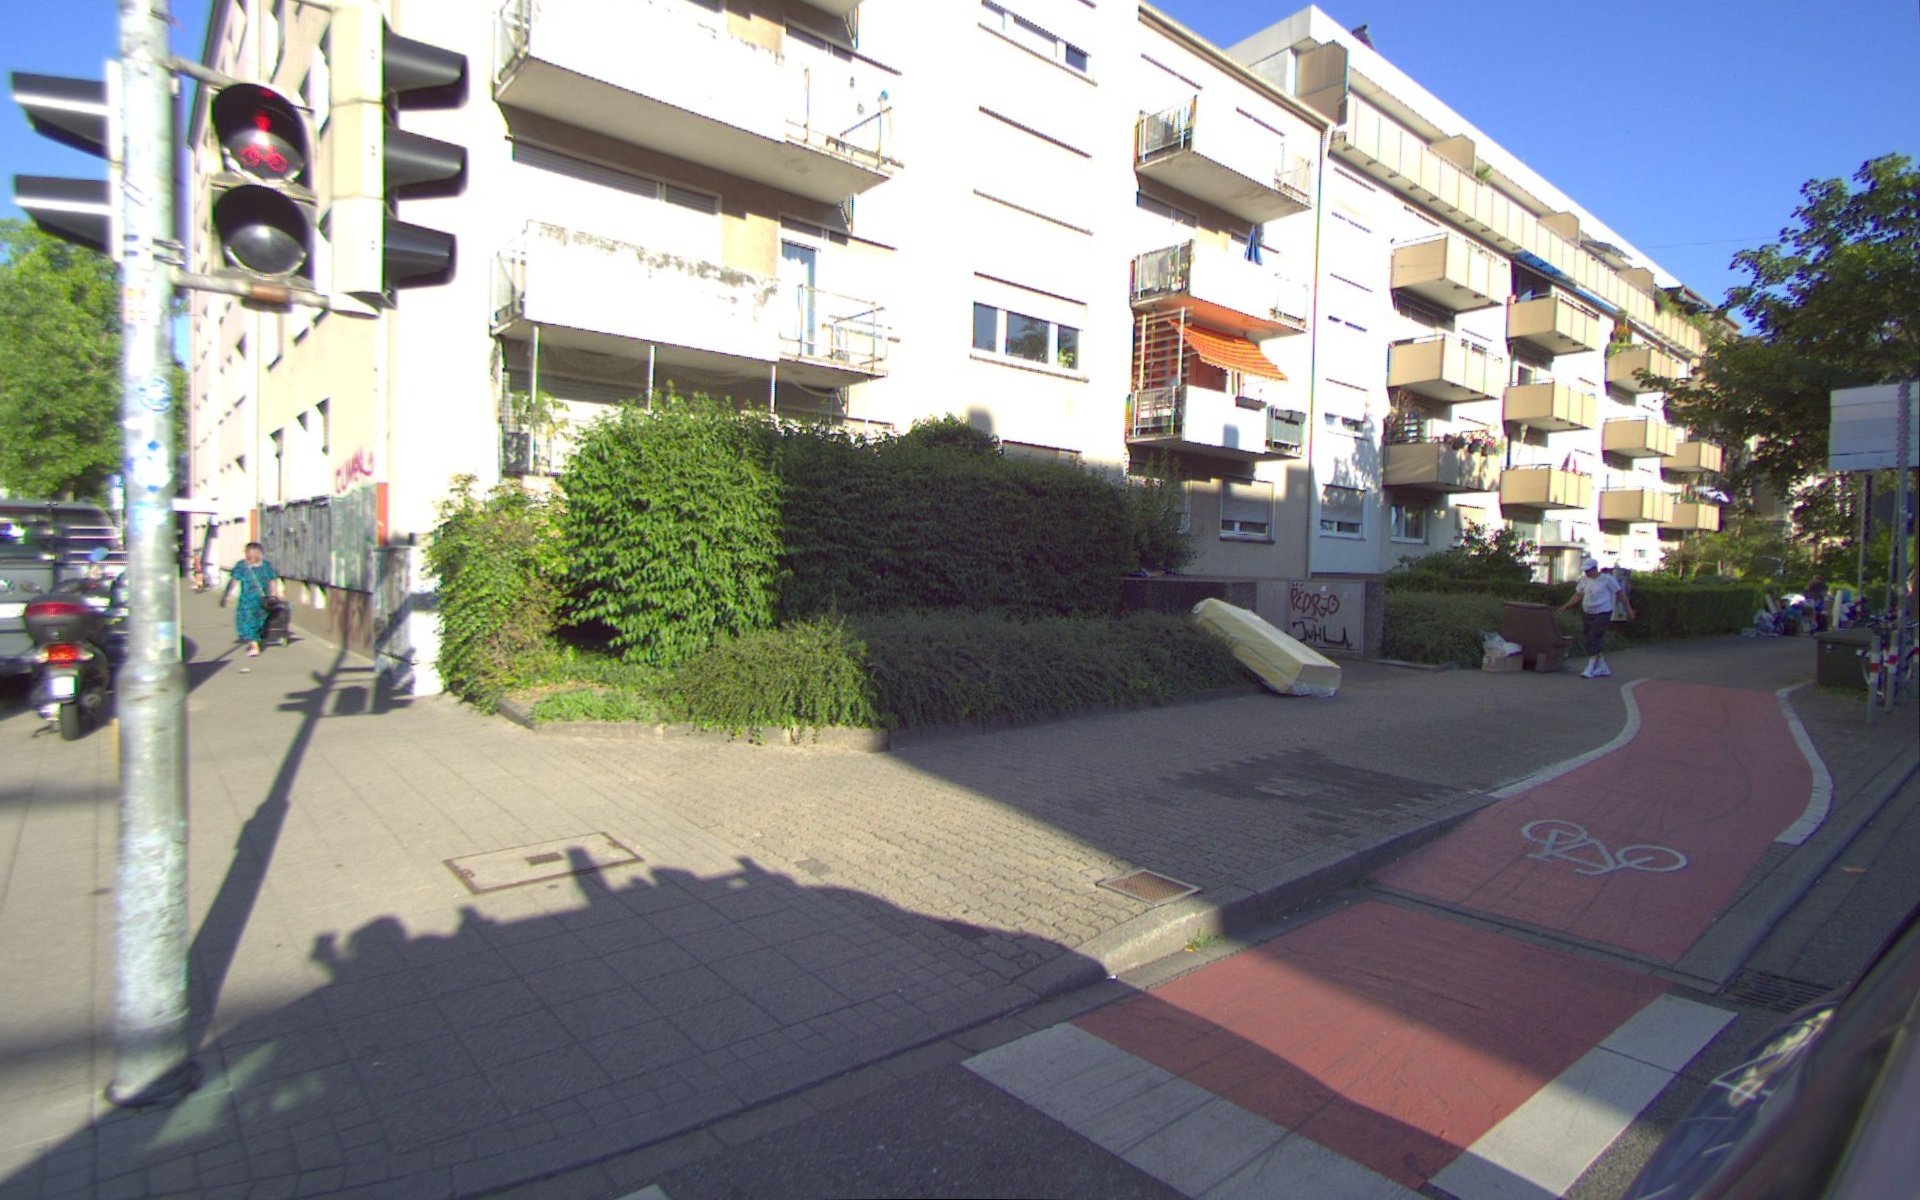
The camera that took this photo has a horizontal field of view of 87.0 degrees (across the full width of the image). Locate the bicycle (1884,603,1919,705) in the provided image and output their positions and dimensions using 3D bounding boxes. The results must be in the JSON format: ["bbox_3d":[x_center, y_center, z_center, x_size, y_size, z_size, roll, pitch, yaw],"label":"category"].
[{"bbox_3d":[11.709,0.630,12.528,0.324,1.159,1.772,3,2,44],"label":"bicycle"}]

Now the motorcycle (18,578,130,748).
[{"bbox_3d":[-6.711,0.412,7.717,0.584,1.125,1.697,0,2,-39],"label":"motorcycle"}]

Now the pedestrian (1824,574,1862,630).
[{"bbox_3d":[27.719,0.049,31.780,0.815,1.703,0.660,0,3,-35],"label":"pedestrian"}]

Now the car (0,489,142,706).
[{"bbox_3d":[-9.983,-0.123,10.575,1.920,1.888,4.836,-2,4,-42],"label":"car"}]

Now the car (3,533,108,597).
[{"bbox_3d":[-23.831,-0.966,26.739,1.920,1.560,4.286,-2,4,-41],"label":"car"}]

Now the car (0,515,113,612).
[{"bbox_3d":[-20.184,-0.841,22.530,1.919,1.930,5.070,0,3,-41],"label":"car"}]

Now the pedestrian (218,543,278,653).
[{"bbox_3d":[-9.399,-0.035,13.356,0.584,1.408,0.641,0,2,-41],"label":"pedestrian"}]

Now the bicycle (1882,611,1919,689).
[{"bbox_3d":[13.000,0.663,13.844,1.169,0.999,0.325,0,2,-37],"label":"bicycle"}]

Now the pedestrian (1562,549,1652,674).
[{"bbox_3d":[9.209,0.145,14.420,0.648,1.703,0.831,0,3,-37],"label":"pedestrian"}]

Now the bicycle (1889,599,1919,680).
[{"bbox_3d":[14.683,0.577,15.293,1.764,1.159,0.326,0,2,-28],"label":"bicycle"}]

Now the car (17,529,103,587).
[{"bbox_3d":[-28.353,-1.329,31.951,1.919,1.681,4.349,0,3,-41],"label":"car"}]

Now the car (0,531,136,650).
[{"bbox_3d":[-13.849,-0.236,15.271,1.920,1.560,4.614,-2,4,-42],"label":"car"}]

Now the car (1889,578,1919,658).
[{"bbox_3d":[20.248,0.354,20.340,3.742,1.536,1.745,0,2,-39],"label":"car"}]

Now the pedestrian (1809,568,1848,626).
[{"bbox_3d":[26.447,-0.096,30.821,0.815,1.703,0.660,0,3,-35],"label":"pedestrian"}]
